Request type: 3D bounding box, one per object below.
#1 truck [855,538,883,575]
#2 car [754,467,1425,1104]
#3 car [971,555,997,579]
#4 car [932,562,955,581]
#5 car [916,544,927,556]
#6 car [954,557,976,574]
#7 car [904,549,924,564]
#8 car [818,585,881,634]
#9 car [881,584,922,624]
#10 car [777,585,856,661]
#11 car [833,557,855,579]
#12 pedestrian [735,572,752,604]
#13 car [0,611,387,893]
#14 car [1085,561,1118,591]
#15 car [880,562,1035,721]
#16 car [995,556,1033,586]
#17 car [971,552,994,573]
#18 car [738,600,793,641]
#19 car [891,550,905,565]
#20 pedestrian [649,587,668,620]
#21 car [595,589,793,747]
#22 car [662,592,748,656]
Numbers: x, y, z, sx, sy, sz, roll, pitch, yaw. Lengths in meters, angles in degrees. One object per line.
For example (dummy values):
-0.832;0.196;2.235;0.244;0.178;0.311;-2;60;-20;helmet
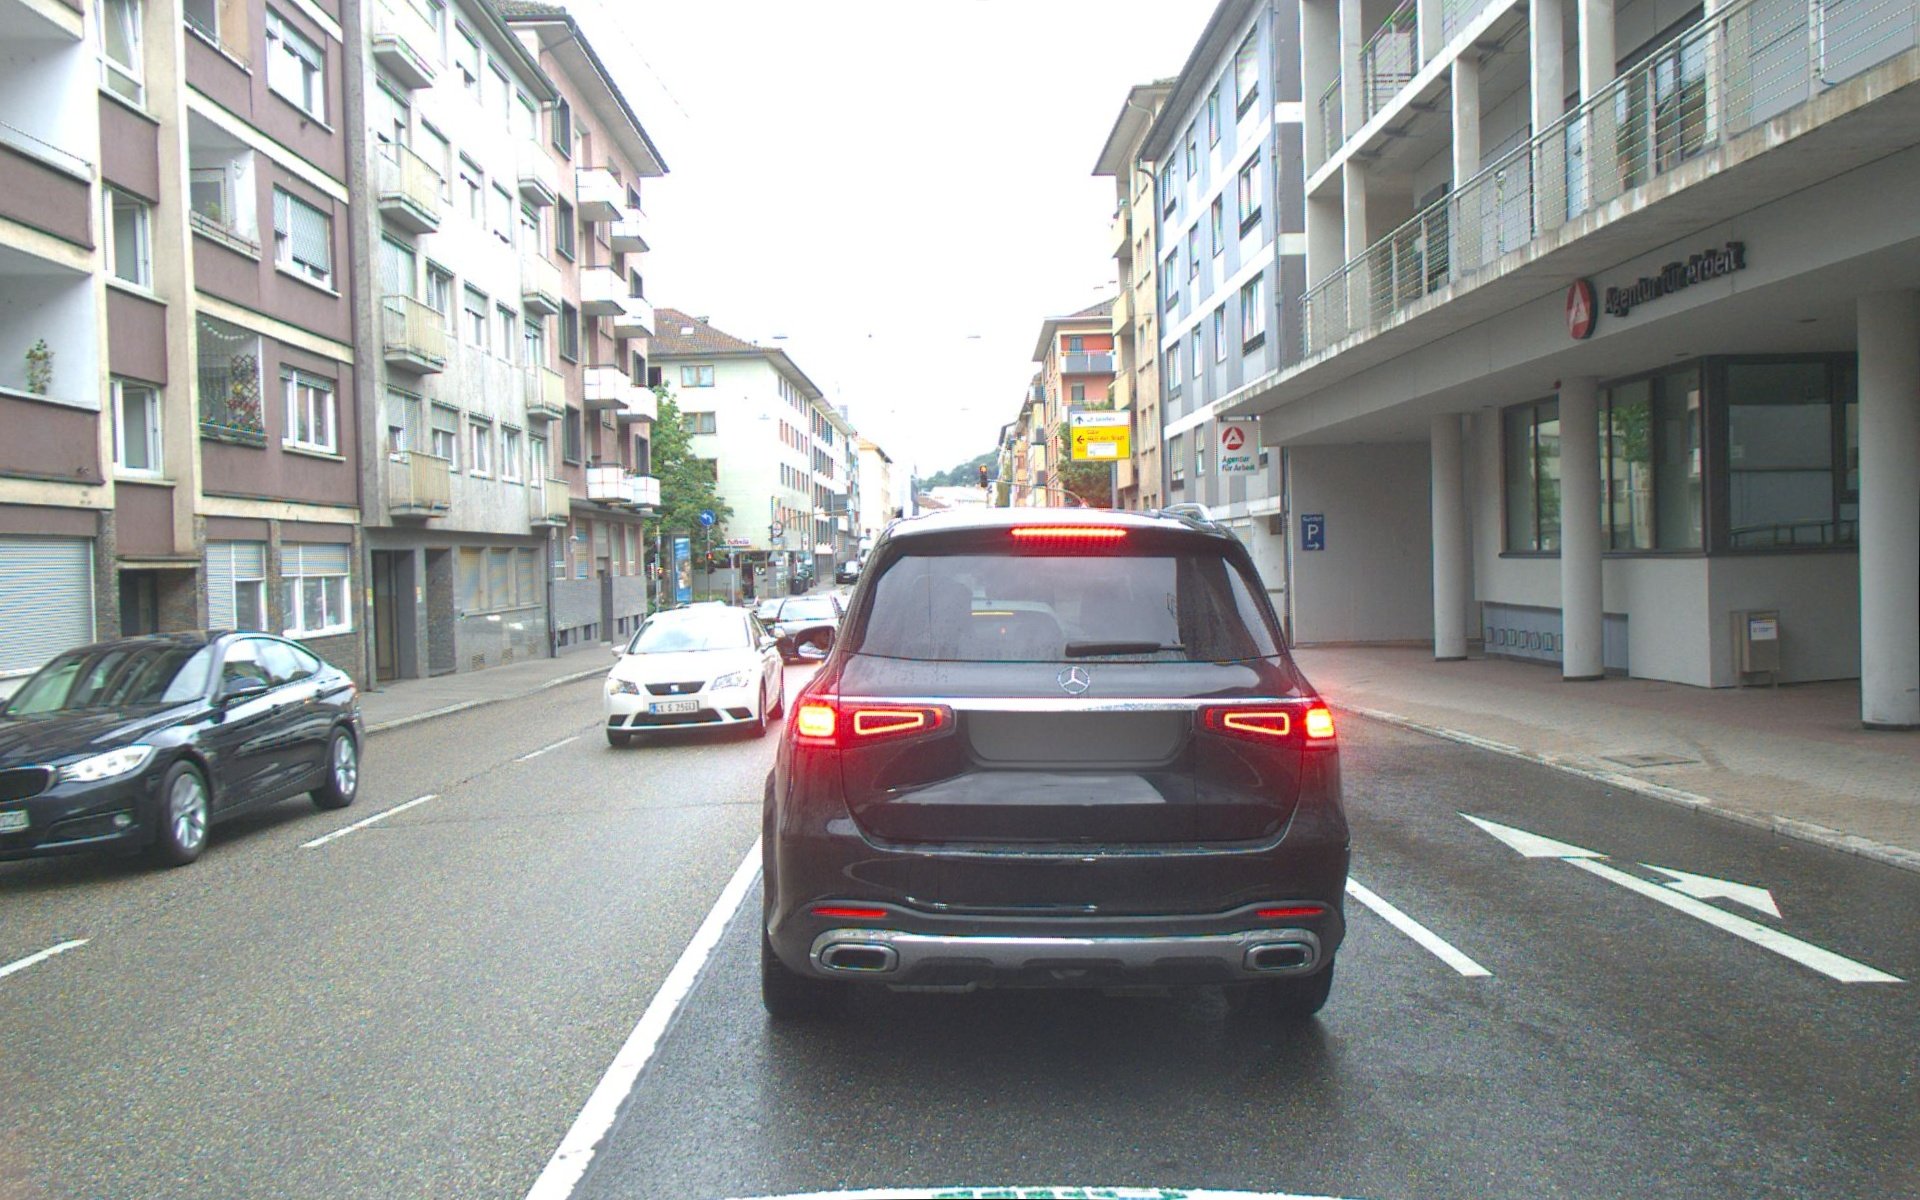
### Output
-8.598;-4.070;156.962;2.430;3.099;9.914;-3;0;-3;truck
0.354;0.555;7.040;1.944;1.836;4.389;1;0;-1;car
1.776;-2.464;124.113;1.586;1.566;4.215;-3;0;-3;car
-1.421;-2.433;141.109;1.953;1.514;3.999;-2;0;-1;car
-5.821;-7.607;250.210;1.586;1.566;4.215;-3;0;-3;car
0.494;-3.331;158.429;1.848;1.396;4.215;-3;0;-3;car
-4.536;-4.310;163.458;1.848;1.286;4.215;-3;0;-3;car
-3.436;0.303;52.192;1.660;1.394;4.217;-4;-1;0;car
-2.575;0.183;73.298;1.661;1.608;4.216;-4;-1;-2;car
-3.242;0.514;37.938;1.586;1.566;4.215;-3;0;-3;car
-9.209;-2.499;131.511;1.586;1.566;4.215;-3;0;-3;car
-13.332;-0.766;101.774;0.904;1.935;0.706;-2;0;-3;pedestrian
-5.770;0.951;11.926;1.661;1.566;4.435;-6;0;-1;car
8.095;-1.377;94.775;1.636;1.616;3.331;-2;1;1;car
-0.133;0.476;20.848;1.716;1.762;4.215;-1;0;-3;car
2.878;-1.555;88.833;1.586;1.411;4.215;-3;0;-3;car
1.911;-3.196;140.698;1.586;1.566;4.215;-3;0;-3;car
-7.428;0.764;63.465;1.661;1.394;4.364;-4;0;-2;car
-7.279;-4.966;193.625;1.586;1.566;4.215;-3;0;-3;car
-16.379;0.194;89.742;0.759;1.795;0.634;-2;0;40;pedestrian
-3.011;0.728;19.474;1.709;1.566;4.051;-3;0;-2;car
-6.663;0.589;43.567;1.689;1.498;4.372;-4;1;-2;car
